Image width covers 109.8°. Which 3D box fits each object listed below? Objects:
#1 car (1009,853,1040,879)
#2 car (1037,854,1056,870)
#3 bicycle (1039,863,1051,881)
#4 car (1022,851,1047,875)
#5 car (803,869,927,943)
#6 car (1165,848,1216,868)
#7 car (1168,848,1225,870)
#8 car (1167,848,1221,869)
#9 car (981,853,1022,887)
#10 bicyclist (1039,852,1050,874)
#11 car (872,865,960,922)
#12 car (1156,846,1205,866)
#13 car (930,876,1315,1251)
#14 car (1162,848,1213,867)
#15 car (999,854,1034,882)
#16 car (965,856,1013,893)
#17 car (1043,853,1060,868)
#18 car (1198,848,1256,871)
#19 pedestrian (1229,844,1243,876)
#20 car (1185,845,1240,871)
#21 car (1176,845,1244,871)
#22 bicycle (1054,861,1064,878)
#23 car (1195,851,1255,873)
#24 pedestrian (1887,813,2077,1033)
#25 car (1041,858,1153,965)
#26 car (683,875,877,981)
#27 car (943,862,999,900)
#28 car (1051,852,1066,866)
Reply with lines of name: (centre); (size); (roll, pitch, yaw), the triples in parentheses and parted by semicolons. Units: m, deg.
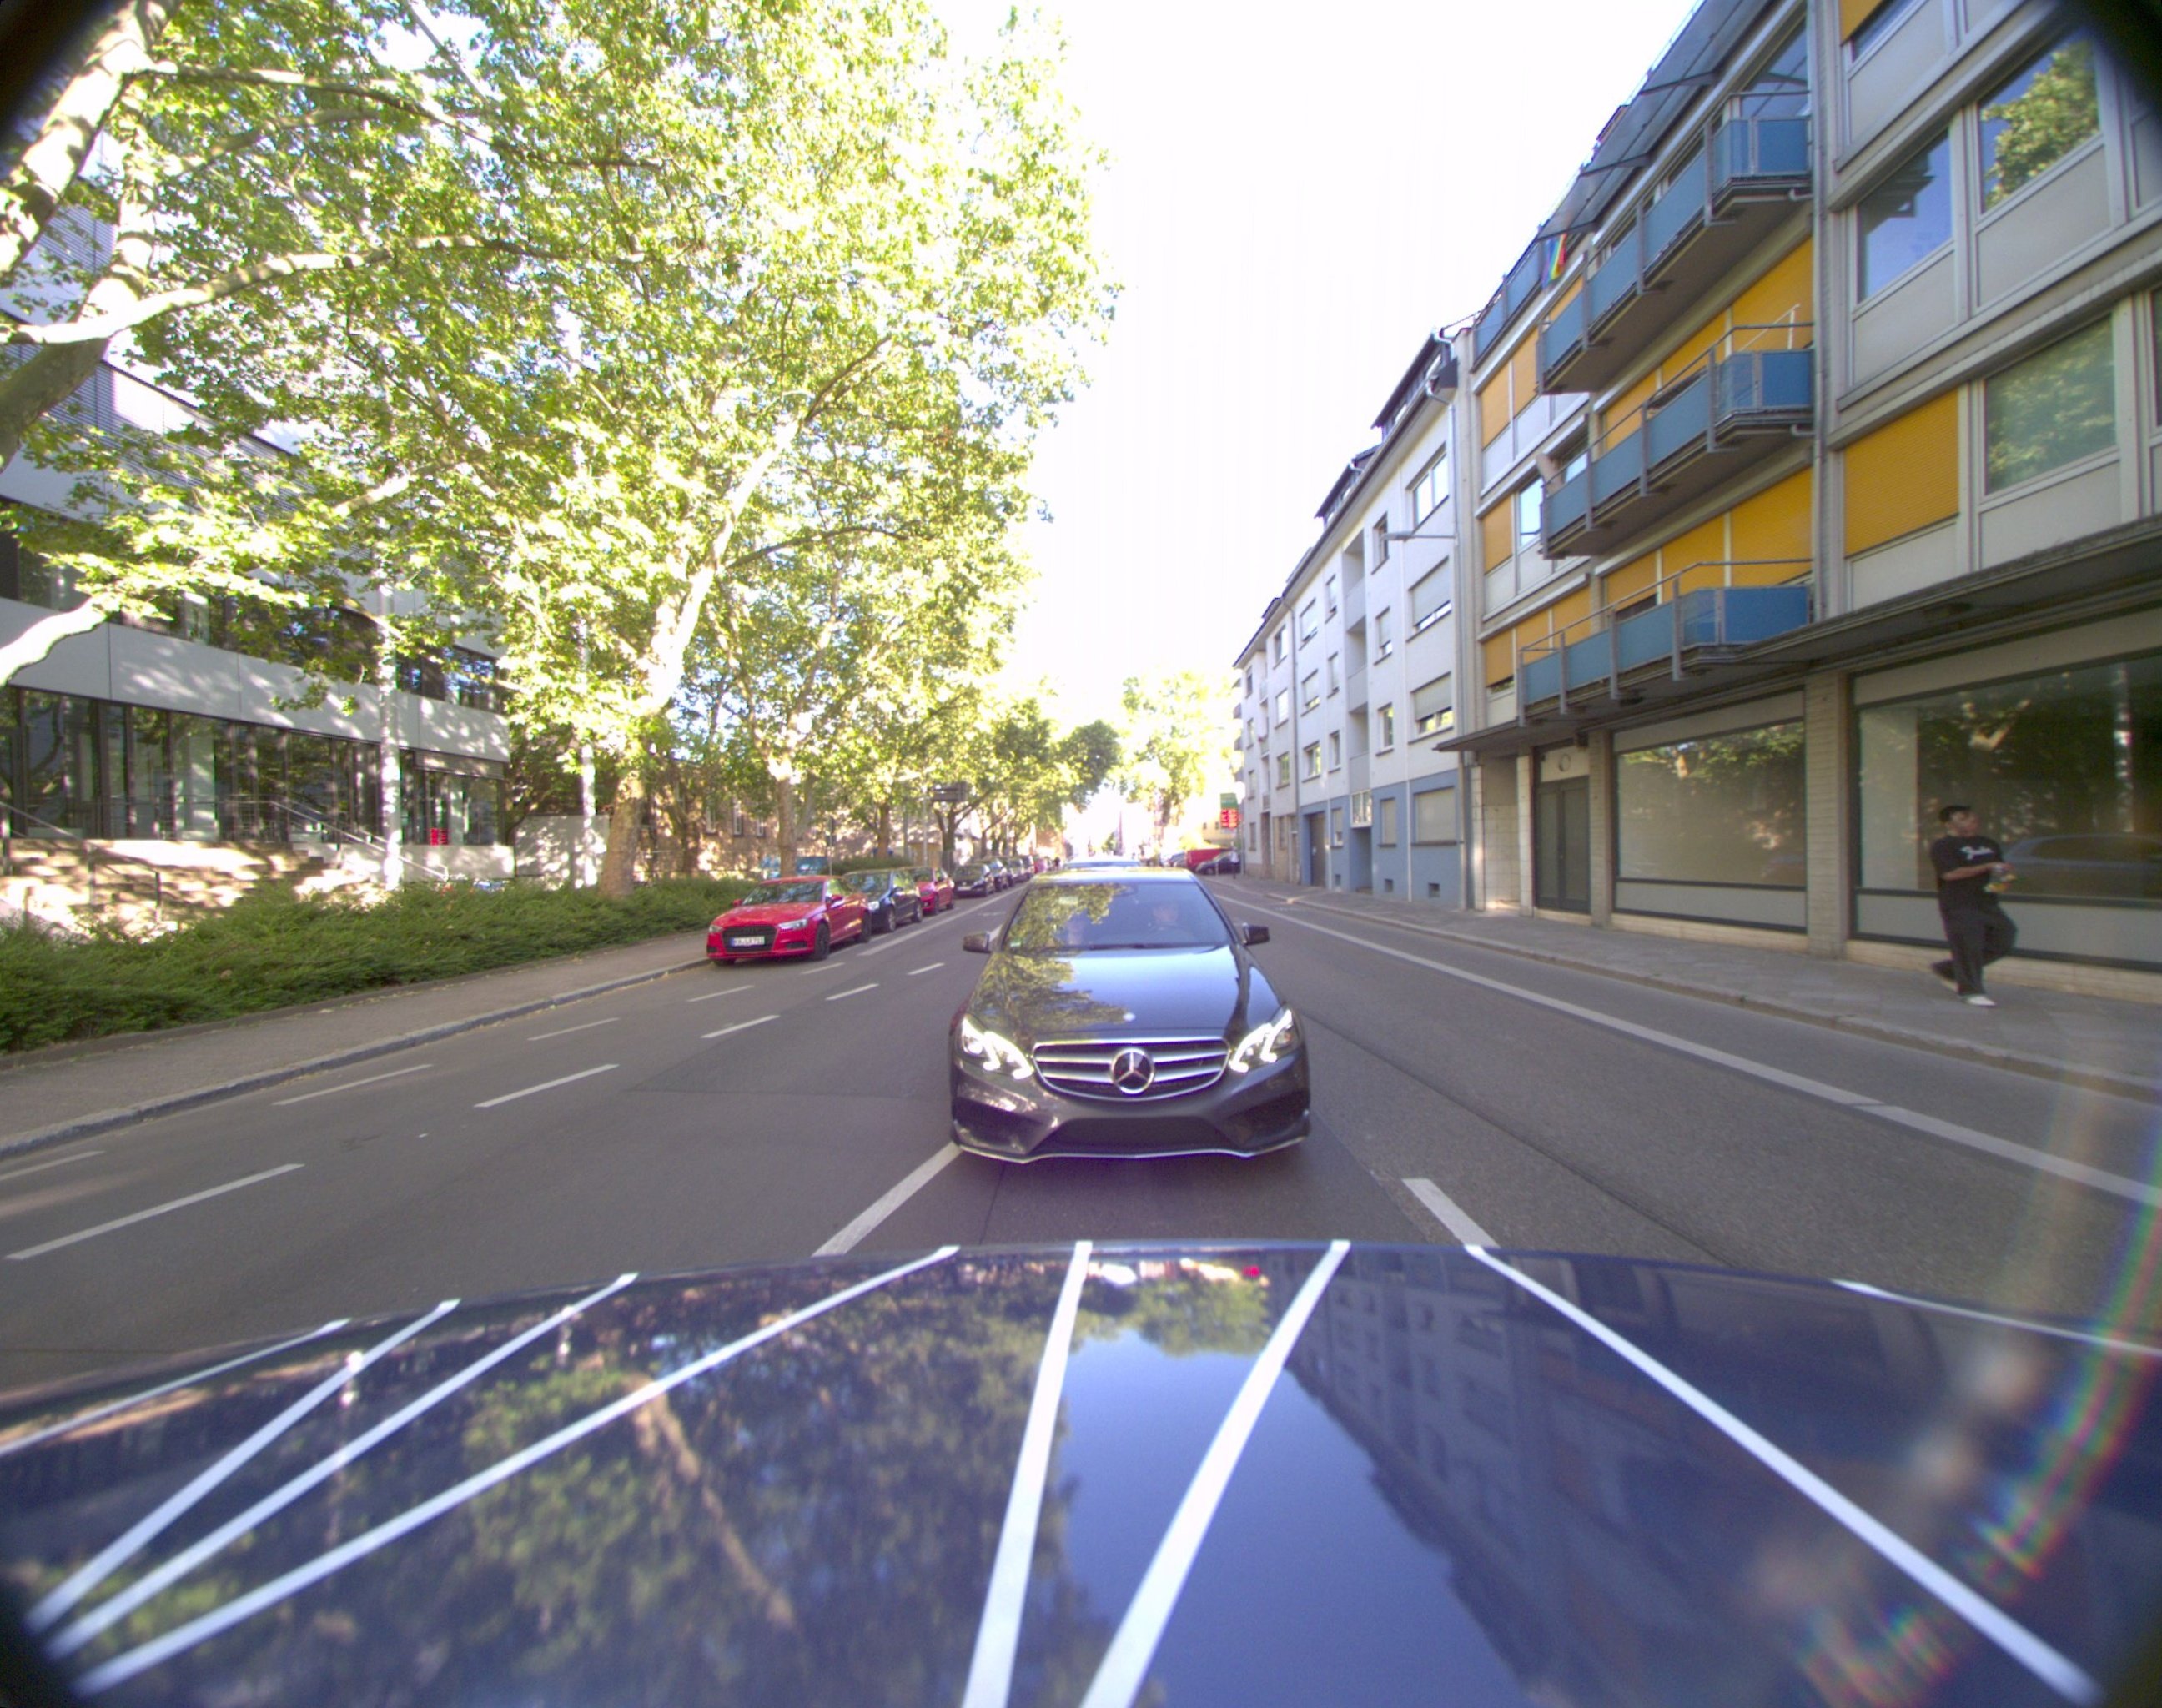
car: (-4.102, 0.823, 55.753); (1.755, 1.753, 4.447); (-3, 0, 1)
car: (-3.775, 0.872, 83.512); (1.755, 1.652, 4.447); (-3, 0, 1)
bicycle: (-2.351, 1.150, 49.101); (0.650, 1.053, 1.595); (-2, 0, 1)
car: (-3.996, 0.730, 66.386); (1.755, 1.941, 4.447); (-3, 0, 1)
car: (-5.085, 1.174, 18.440); (1.755, 1.424, 3.909); (-3, 0, 1)
car: (11.287, 0.375, 78.716); (4.991, 1.926, 2.083); (-2, 0, 1)
car: (11.100, 0.445, 73.518); (5.143, 1.926, 2.187); (-2, 0, 1)
car: (11.273, 0.406, 76.218); (5.054, 1.926, 2.161); (-2, 0, 1)
car: (-4.553, 0.872, 44.059); (1.755, 1.810, 4.447); (-3, 0, 1)
bicyclist: (-2.362, 0.573, 49.081); (0.650, 1.427, 0.741); (-2, 1, 1)
car: (-5.034, 1.147, 23.653); (1.755, 1.459, 3.909); (-3, 0, 1)
car: (11.190, 0.203, 85.518); (5.143, 2.135, 2.187); (-2, 0, 1)
car: (0.212, 0.984, 5.354); (1.667, 1.499, 4.000); (-1, 0, 1)
car: (11.323, 0.350, 81.182); (5.042, 1.926, 2.315); (-2, 0, 1)
car: (-4.272, 0.881, 50.942); (1.755, 1.718, 4.447); (-3, 0, 1)
car: (-4.563, 0.977, 38.261); (1.755, 1.644, 4.174); (-3, 0, 1)
car: (-3.646, 0.775, 93.001); (1.755, 1.652, 4.447); (-3, 0, 1)
car: (10.913, 0.393, 56.988); (3.997, 1.552, 1.743); (-2, 0, 1)
pedestrian: (8.723, 0.323, 42.811); (0.608, 1.737, 0.756); (-2, 1, 1)
car: (10.332, 0.302, 60.077); (3.997, 1.926, 1.867); (-2, 0, 1)
car: (10.637, 0.296, 63.102); (5.223, 1.969, 2.257); (-2, 0, 1)
bicycle: (-1.395, 0.961, 48.797); (0.574, 1.053, 1.595); (-2, 0, 1)
car: (10.357, 0.564, 54.778); (3.997, 1.412, 1.743); (-2, 0, 1)
pedestrian: (7.708, 0.559, 6.540); (0.663, 1.761, 0.793); (-2, 1, 1)
car: (0.270, 0.887, 13.606); (1.667, 1.563, 4.000); (-1, 0, 1)
car: (-5.125, 1.183, 13.594); (1.755, 1.400, 4.000); (-3, 0, 1)
car: (-4.750, 1.119, 33.291); (1.755, 1.424, 3.909); (-3, 0, 1)
car: (-3.014, 0.651, 103.200); (1.755, 1.652, 4.447); (-3, 0, 1)
